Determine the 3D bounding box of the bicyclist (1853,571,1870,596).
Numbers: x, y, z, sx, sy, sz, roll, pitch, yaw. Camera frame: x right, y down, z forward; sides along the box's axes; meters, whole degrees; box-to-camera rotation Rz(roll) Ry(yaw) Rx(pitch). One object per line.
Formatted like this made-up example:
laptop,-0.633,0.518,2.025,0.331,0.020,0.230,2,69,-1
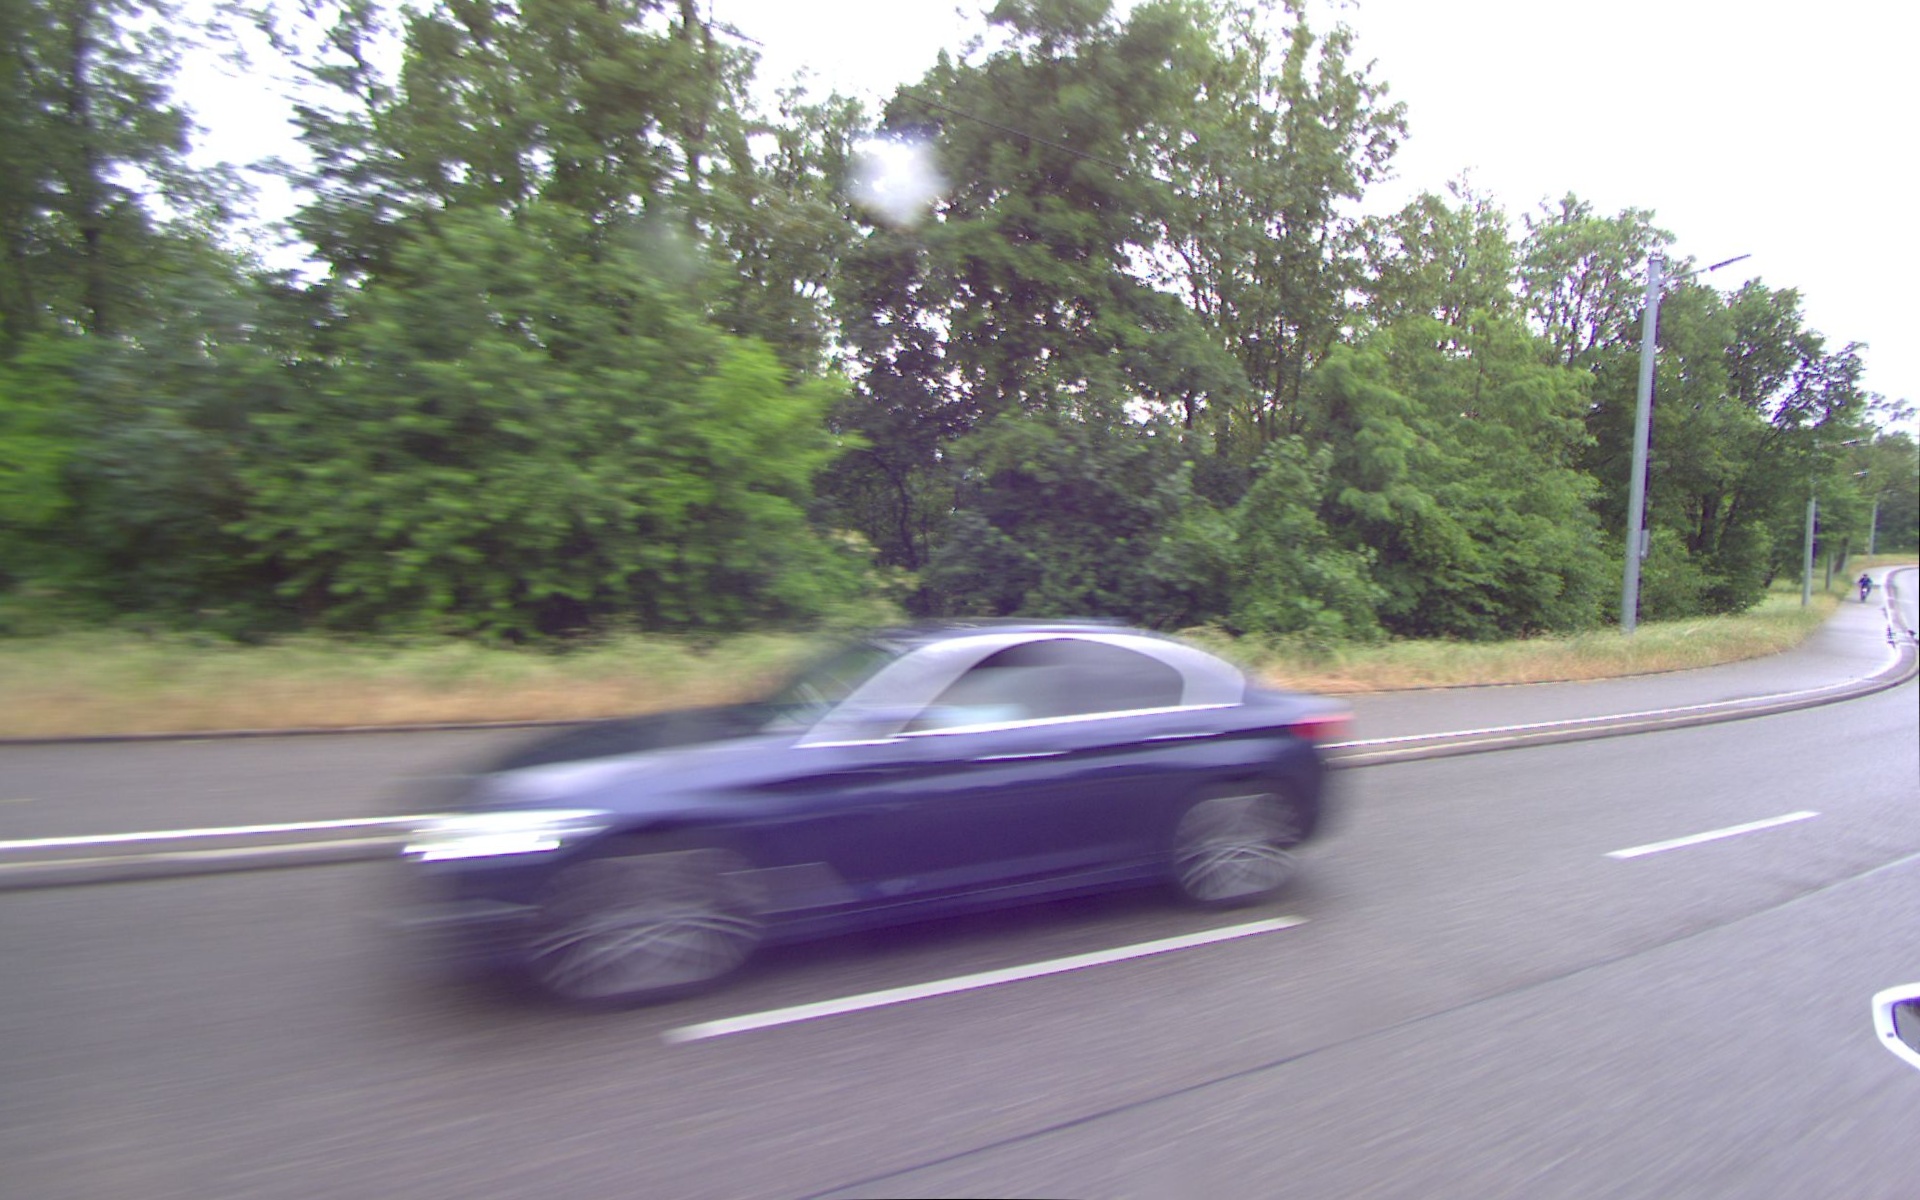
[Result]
bicyclist,60.853,-1.116,67.817,0.700,1.577,1.164,7,6,42

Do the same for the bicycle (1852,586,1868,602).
bicycle,60.725,-0.390,67.773,0.716,0.954,2.536,7,6,41

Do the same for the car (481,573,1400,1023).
car,0.051,0.746,5.350,4.576,1.521,1.838,2,-1,-30
